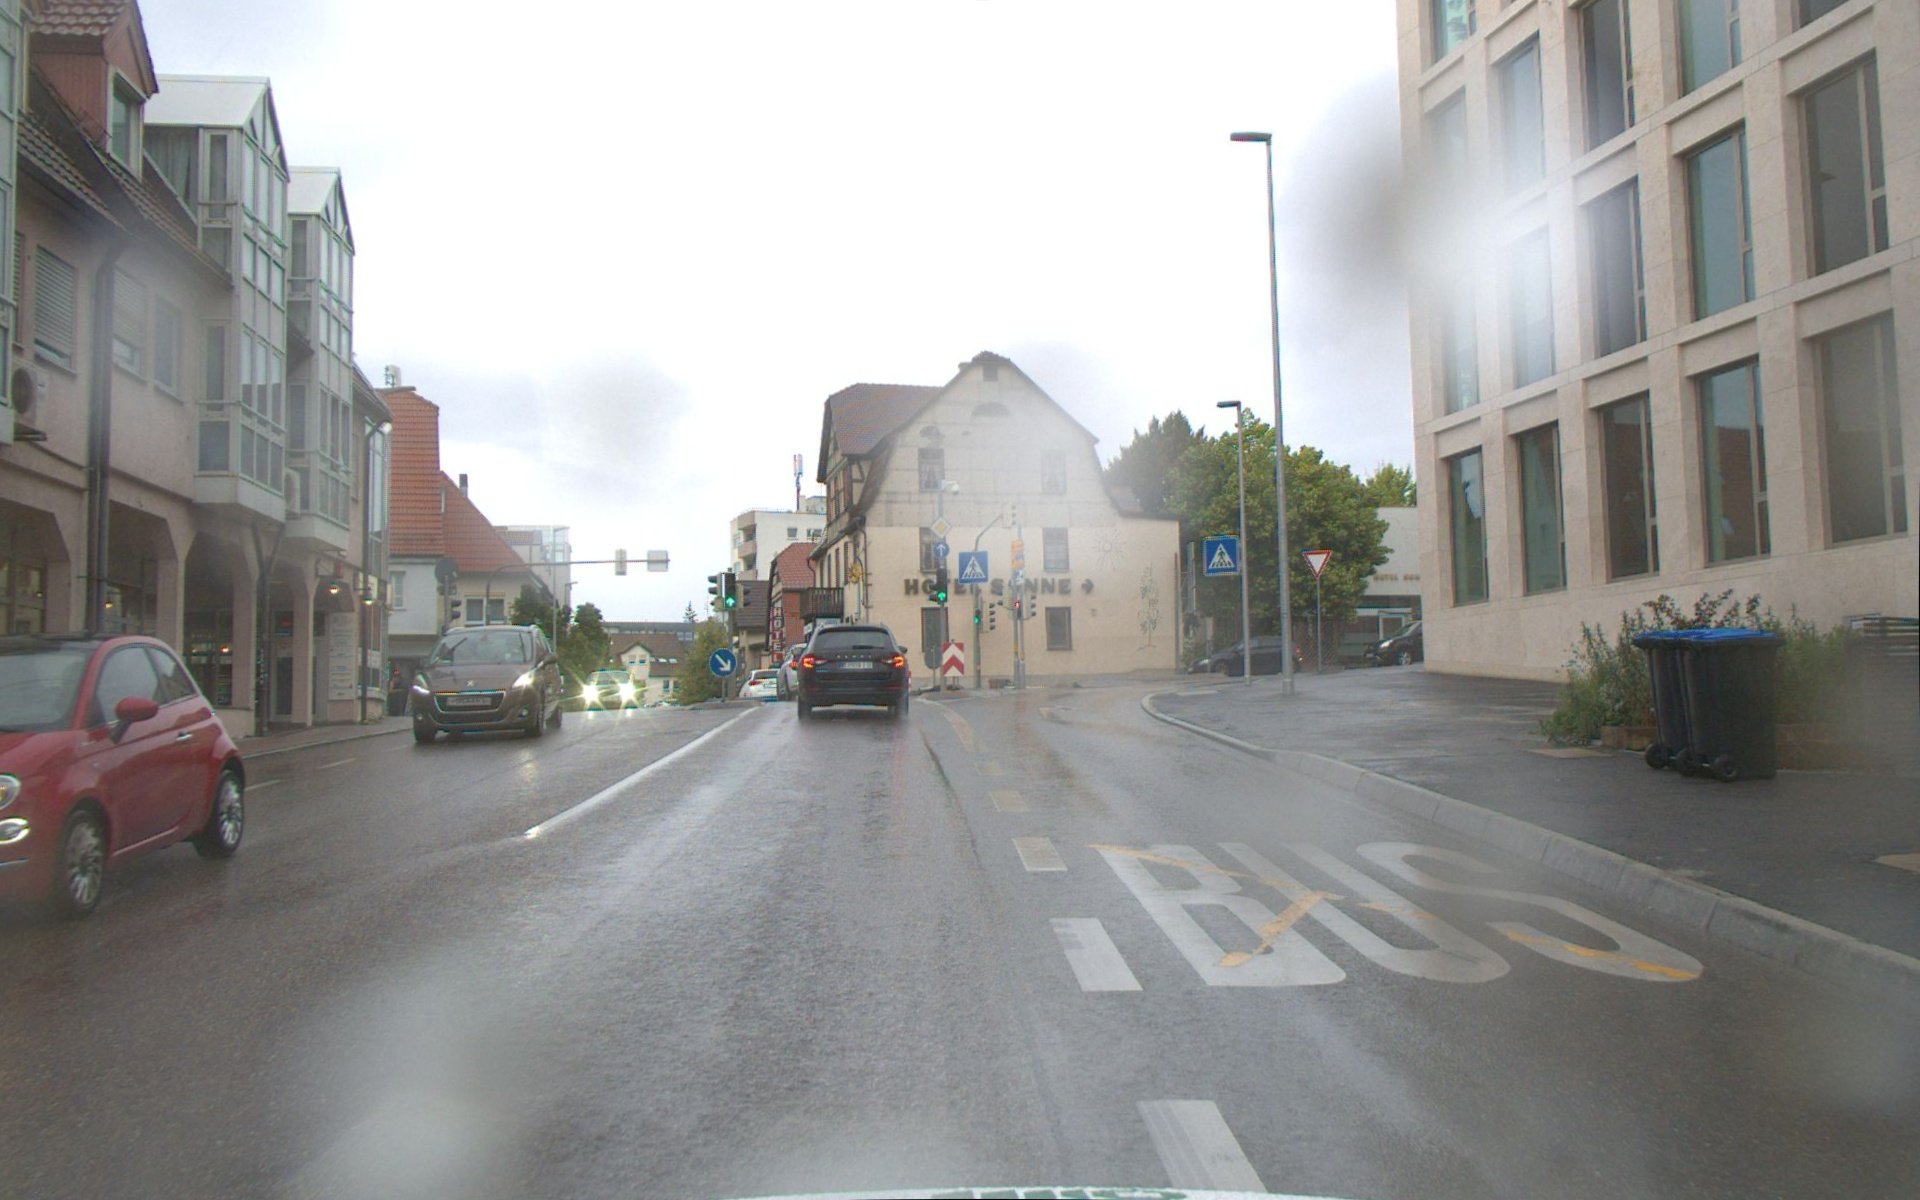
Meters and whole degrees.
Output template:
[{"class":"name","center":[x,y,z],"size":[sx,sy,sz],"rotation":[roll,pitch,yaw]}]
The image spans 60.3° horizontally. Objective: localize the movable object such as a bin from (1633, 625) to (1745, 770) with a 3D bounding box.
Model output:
[{"class":"movable object such as a bin","center":[5.674,0.747,12.892],"size":[0.583,1.081,0.579],"rotation":[-2,0,-1]}]

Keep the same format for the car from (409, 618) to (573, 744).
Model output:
[{"class":"car","center":[-6.885,1.128,24.657],"size":[1.749,1.658,4.208],"rotation":[-2,0,-8]}]

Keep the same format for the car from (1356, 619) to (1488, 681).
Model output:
[{"class":"car","center":[16.905,1.826,60.539],"size":[4.231,1.847,1.771],"rotation":[-3,-5,-15]}]

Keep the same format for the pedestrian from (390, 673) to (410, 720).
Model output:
[{"class":"pedestrian","center":[-19.502,3.362,57.606],"size":[0.583,1.586,0.631],"rotation":[-3,-3,-18]}]

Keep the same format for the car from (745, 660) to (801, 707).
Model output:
[{"class":"car","center":[-6.819,3.003,60.077],"size":[1.852,1.493,3.992],"rotation":[-3,-1,-8]}]

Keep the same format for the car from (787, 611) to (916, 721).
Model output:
[{"class":"car","center":[-1.747,1.017,27.216],"size":[1.906,1.594,4.414],"rotation":[-1,0,-3]}]

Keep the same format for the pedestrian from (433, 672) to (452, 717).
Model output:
[{"class":"pedestrian","center":[-18.432,3.361,58.871],"size":[0.583,1.586,0.631],"rotation":[-3,-3,-18]}]

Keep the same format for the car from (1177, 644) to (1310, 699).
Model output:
[{"class":"car","center":[10.036,2.536,58.695],"size":[4.234,1.531,1.770],"rotation":[-3,-5,-17]}]

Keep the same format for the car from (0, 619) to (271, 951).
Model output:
[{"class":"car","center":[-5.321,0.937,9.535],"size":[1.529,1.562,3.444],"rotation":[-3,0,-7]}]

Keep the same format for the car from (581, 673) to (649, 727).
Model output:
[{"class":"car","center":[-11.244,3.232,54.090],"size":[1.852,1.493,3.992],"rotation":[-3,-1,-8]}]

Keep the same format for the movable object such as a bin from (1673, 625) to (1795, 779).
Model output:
[{"class":"movable object such as a bin","center":[5.684,0.736,12.166],"size":[0.583,1.081,0.579],"rotation":[-2,0,-1]}]
